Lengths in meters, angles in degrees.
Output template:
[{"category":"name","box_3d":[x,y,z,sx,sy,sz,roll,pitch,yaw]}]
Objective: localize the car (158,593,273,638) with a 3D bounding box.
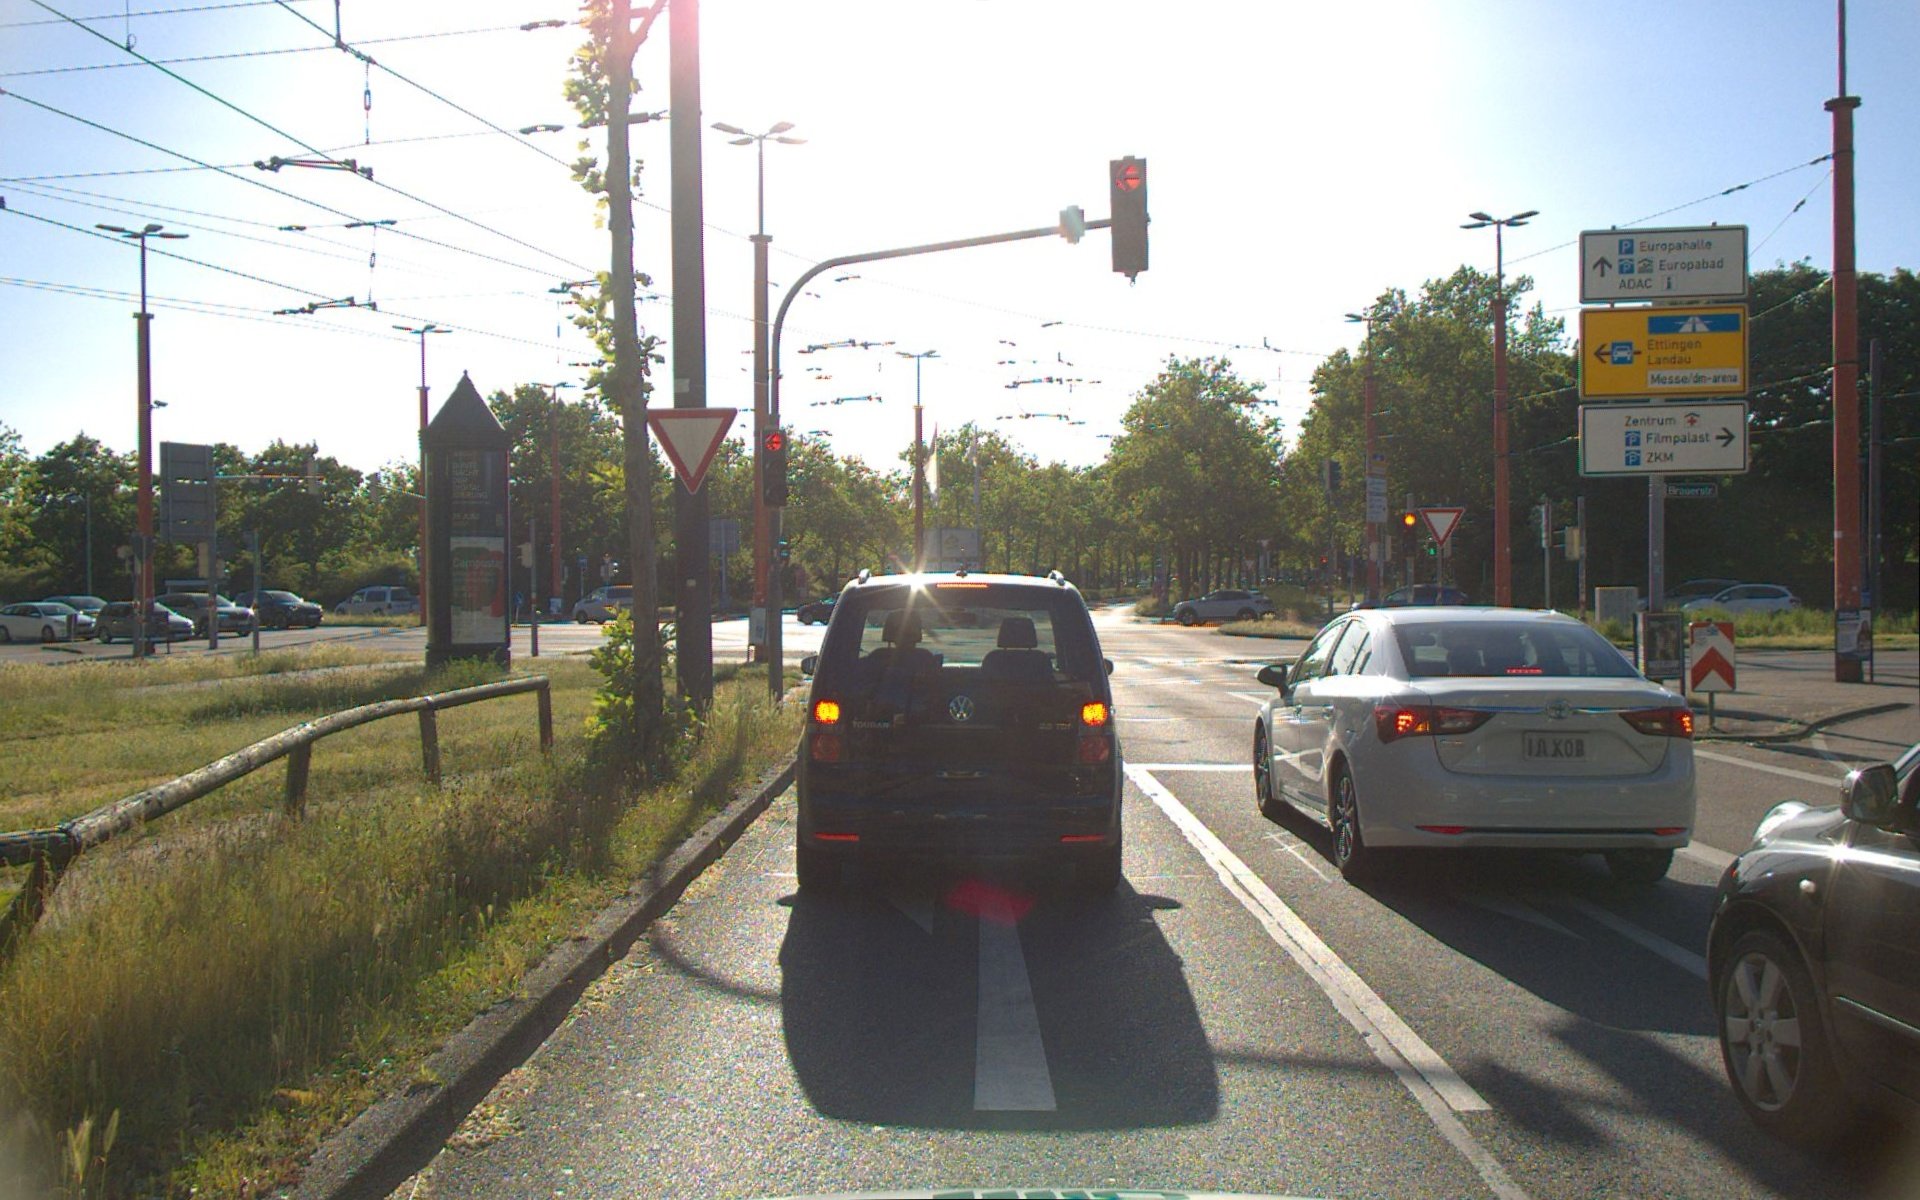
[{"category":"car","box_3d":[-28.825,0.586,64.031,3.907,1.673,1.999,0,0,24]}]

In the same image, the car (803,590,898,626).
[{"category":"car","box_3d":[-5.066,0.378,76.522,4.040,1.537,1.821,1,0,26]}]

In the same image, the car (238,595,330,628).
[{"category":"car","box_3d":[-29.262,0.483,71.584,3.913,1.353,1.694,0,0,31]}]

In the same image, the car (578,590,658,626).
[{"category":"car","box_3d":[-16.990,0.393,82.153,3.570,1.684,1.679,1,0,25]}]

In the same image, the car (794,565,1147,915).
[{"category":"car","box_3d":[0.015,0.657,9.791,1.666,1.650,3.896,0,0,-1]}]

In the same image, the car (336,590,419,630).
[{"category":"car","box_3d":[-29.645,0.523,84.176,3.754,1.923,1.763,1,0,22]}]

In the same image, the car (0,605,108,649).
[{"category":"car","box_3d":[-34.779,1.004,63.200,4.091,1.640,1.867,0,0,25]}]

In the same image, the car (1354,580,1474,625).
[{"category":"car","box_3d":[16.983,0.092,61.886,4.039,1.626,1.827,0,0,27]}]

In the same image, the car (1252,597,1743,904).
[{"category":"car","box_3d":[2.983,0.729,10.132,1.685,1.463,4.198,1,0,1]}]

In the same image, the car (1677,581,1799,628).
[{"category":"car","box_3d":[26.724,0.145,56.841,3.745,1.549,1.693,0,0,27]}]

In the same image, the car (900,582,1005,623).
[{"category":"car","box_3d":[-0.340,0.108,70.427,4.097,1.673,1.758,1,0,26]}]

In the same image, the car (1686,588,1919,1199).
[{"category":"car","box_3d":[3.180,0.747,3.564,1.620,1.526,3.614,1,0,0]}]

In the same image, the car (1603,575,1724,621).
[{"category":"car","box_3d":[26.246,-0.068,61.706,4.040,1.672,1.850,0,0,27]}]

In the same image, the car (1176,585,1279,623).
[{"category":"car","box_3d":[11.068,0.176,68.491,3.887,1.466,1.685,1,0,27]}]
